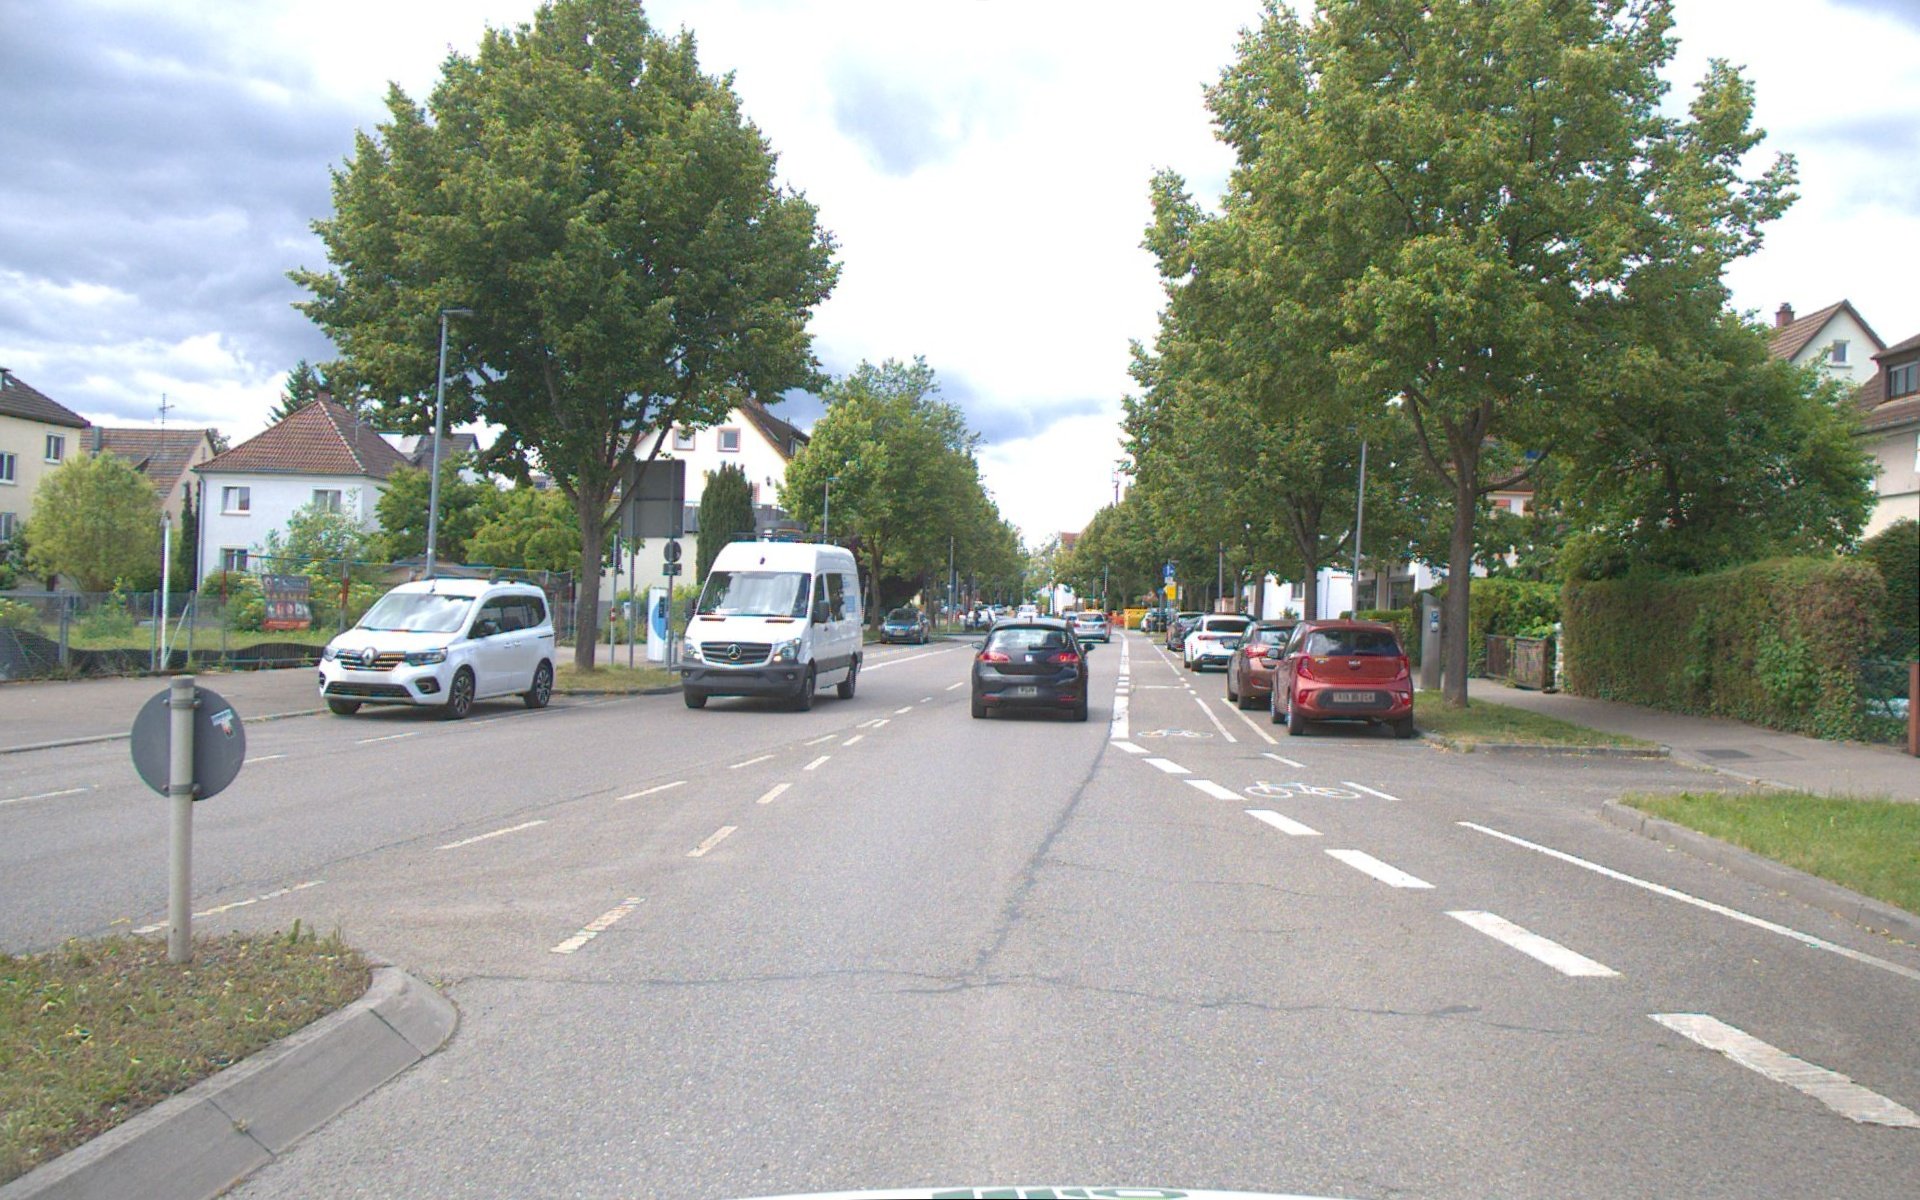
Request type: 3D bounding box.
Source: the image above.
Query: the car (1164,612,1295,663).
[{"bbox_3d":[8.967,1.240,55.210,4.130,1.666,1.693,0,0,0],"label":"car"}]

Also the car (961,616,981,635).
[{"bbox_3d":[1.290,3.018,197.443,2.051,2.213,5.041,1,0,-3],"label":"car"}]

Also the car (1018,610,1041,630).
[{"bbox_3d":[6.765,1.941,160.689,1.925,1.862,4.821,1,0,5],"label":"car"}]

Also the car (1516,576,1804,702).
[{"bbox_3d":[15.659,0.848,37.196,5.595,2.637,1.998,1,0,1],"label":"car"}]

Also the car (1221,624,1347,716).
[{"bbox_3d":[5.522,1.144,28.572,1.618,1.441,4.179,0,0,4],"label":"car"}]

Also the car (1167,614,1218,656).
[{"bbox_3d":[9.346,1.401,66.808,1.686,1.608,4.062,1,0,3],"label":"car"}]

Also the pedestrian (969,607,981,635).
[{"bbox_3d":[0.906,1.280,101.216,0.531,1.710,0.751,2,1,14],"label":"pedestrian"}]

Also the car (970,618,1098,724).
[{"bbox_3d":[1.137,1.011,25.024,1.781,1.463,3.741,0,0,3],"label":"car"}]

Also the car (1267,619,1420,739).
[{"bbox_3d":[5.197,1.043,22.788,1.532,1.481,3.670,1,-1,5],"label":"car"}]

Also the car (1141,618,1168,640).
[{"bbox_3d":[13.605,1.988,115.891,1.670,1.480,4.618,1,-1,4],"label":"car"}]

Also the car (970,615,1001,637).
[{"bbox_3d":[1.801,1.810,115.802,1.678,1.431,4.303,1,-1,7],"label":"car"}]

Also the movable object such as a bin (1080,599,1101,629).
[{"bbox_3d":[11.661,1.281,148.382,1.731,2.619,3.741,1,0,3],"label":"movable object such as a bin"}]

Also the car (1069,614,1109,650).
[{"bbox_3d":[6.258,1.529,80.551,1.866,1.715,3.741,0,0,3],"label":"car"}]

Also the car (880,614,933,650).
[{"bbox_3d":[-2.292,1.371,71.511,1.694,1.495,4.304,0,0,6],"label":"car"}]

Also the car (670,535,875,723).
[{"bbox_3d":[-2.919,0.444,27.214,1.976,2.721,5.810,1,0,7],"label":"car"}]

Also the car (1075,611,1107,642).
[{"bbox_3d":[8.555,1.700,108.182,1.867,1.915,4.001,1,0,2],"label":"car"}]

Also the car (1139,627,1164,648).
[{"bbox_3d":[14.505,2.823,125.432,1.637,1.488,4.001,1,-1,3],"label":"car"}]

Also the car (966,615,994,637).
[{"bbox_3d":[1.316,1.691,109.173,1.608,1.445,4.022,0,-1,4],"label":"car"}]

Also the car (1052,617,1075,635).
[{"bbox_3d":[8.380,2.099,134.102,1.772,1.399,3.693,1,-1,2],"label":"car"}]

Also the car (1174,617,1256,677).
[{"bbox_3d":[6.872,1.230,44.990,1.767,1.501,4.814,1,-1,4],"label":"car"}]

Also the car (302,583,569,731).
[{"bbox_3d":[-7.106,0.730,22.959,1.733,1.801,4.554,1,0,7],"label":"car"}]

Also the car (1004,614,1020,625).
[{"bbox_3d":[7.256,2.662,230.318,1.775,1.440,3.688,1,-1,-6],"label":"car"}]
